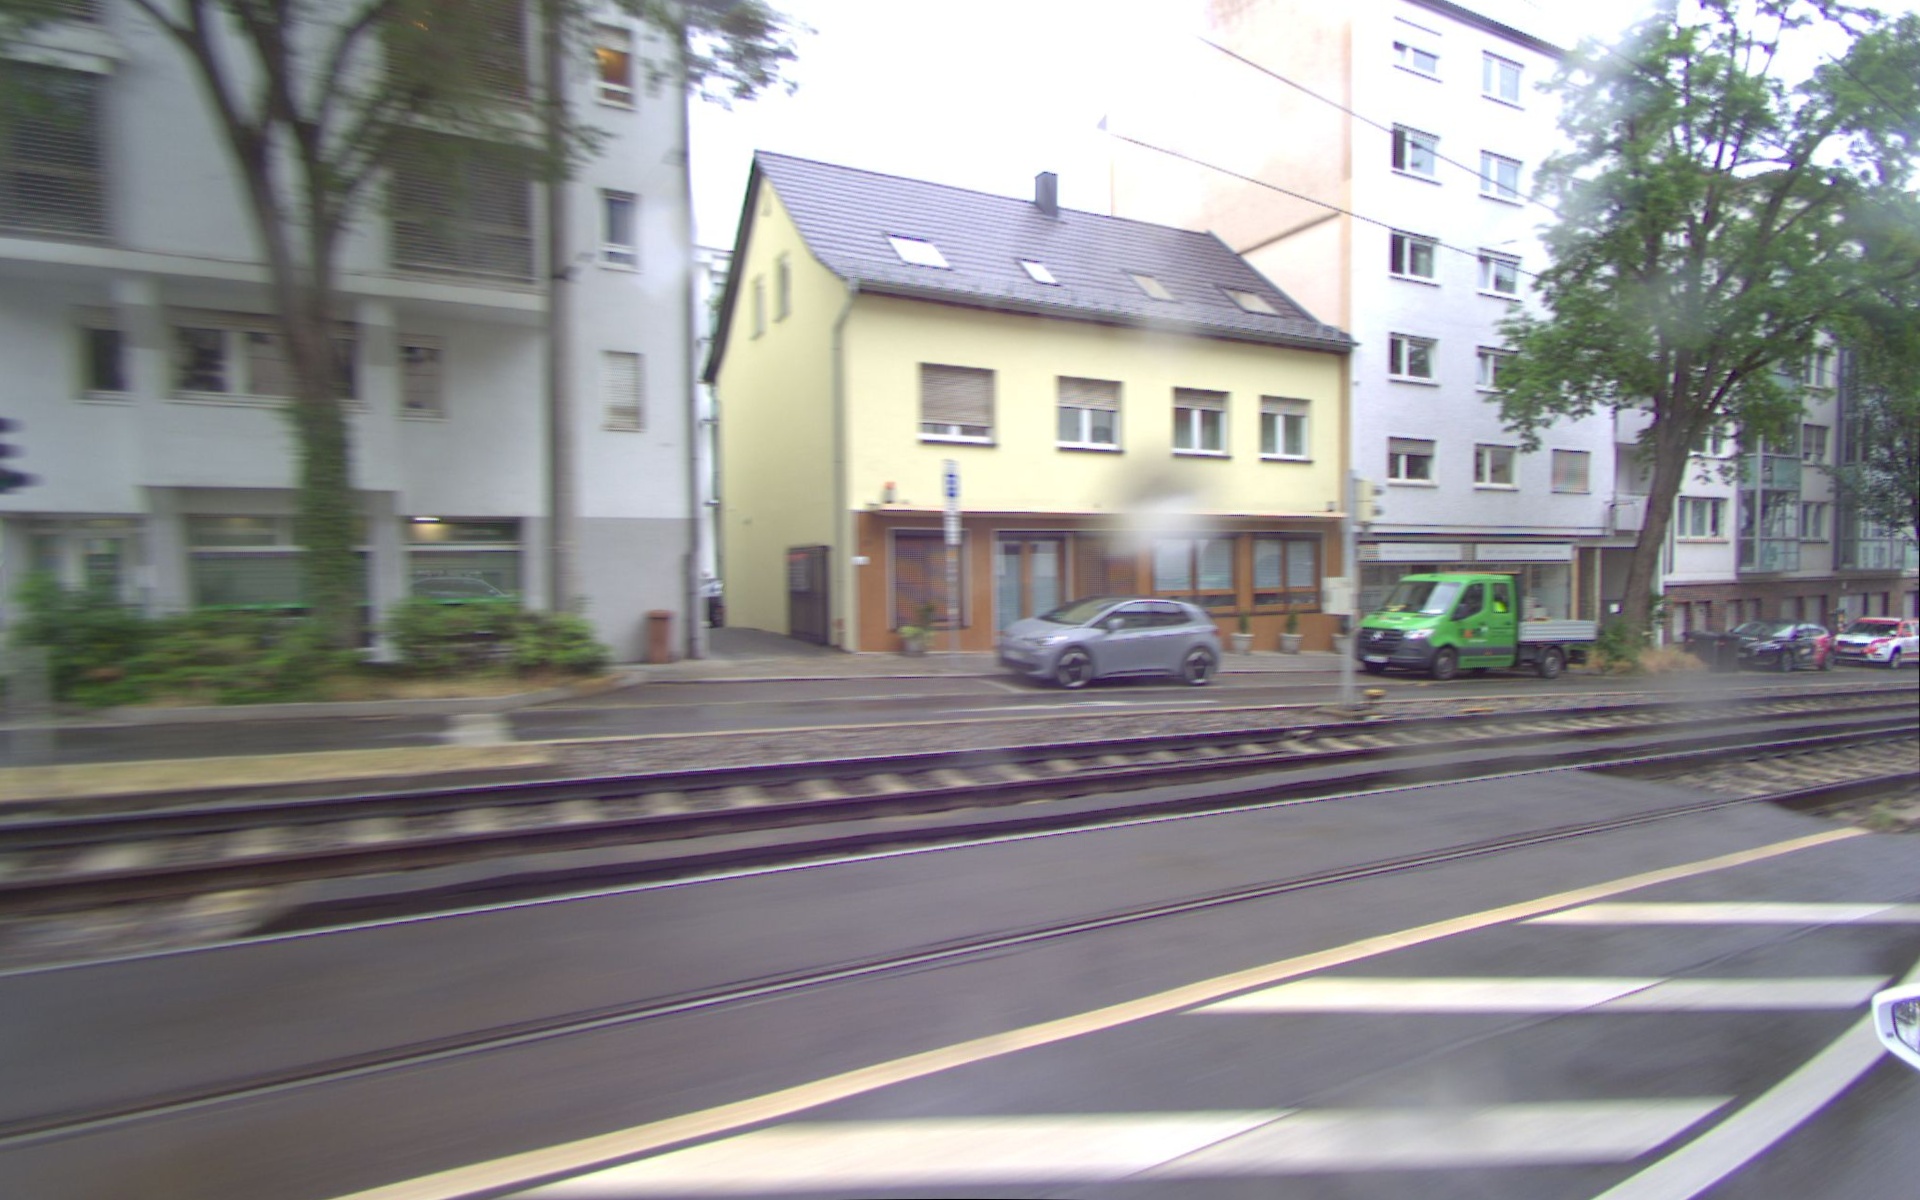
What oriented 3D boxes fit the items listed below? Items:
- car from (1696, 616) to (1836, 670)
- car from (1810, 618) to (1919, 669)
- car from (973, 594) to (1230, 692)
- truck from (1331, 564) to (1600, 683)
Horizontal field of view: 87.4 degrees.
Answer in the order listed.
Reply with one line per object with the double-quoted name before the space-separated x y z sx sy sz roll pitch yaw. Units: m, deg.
"car" 23.582 1.256 29.367 4.204 1.472 1.765 2 -2 -29
"car" 29.834 1.406 32.849 4.204 1.567 1.765 2 -2 -30
"car" 2.595 0.734 18.199 4.439 1.536 1.719 1 2 -28
"truck" 11.526 0.577 22.782 6.237 2.425 2.044 2 0 -26
